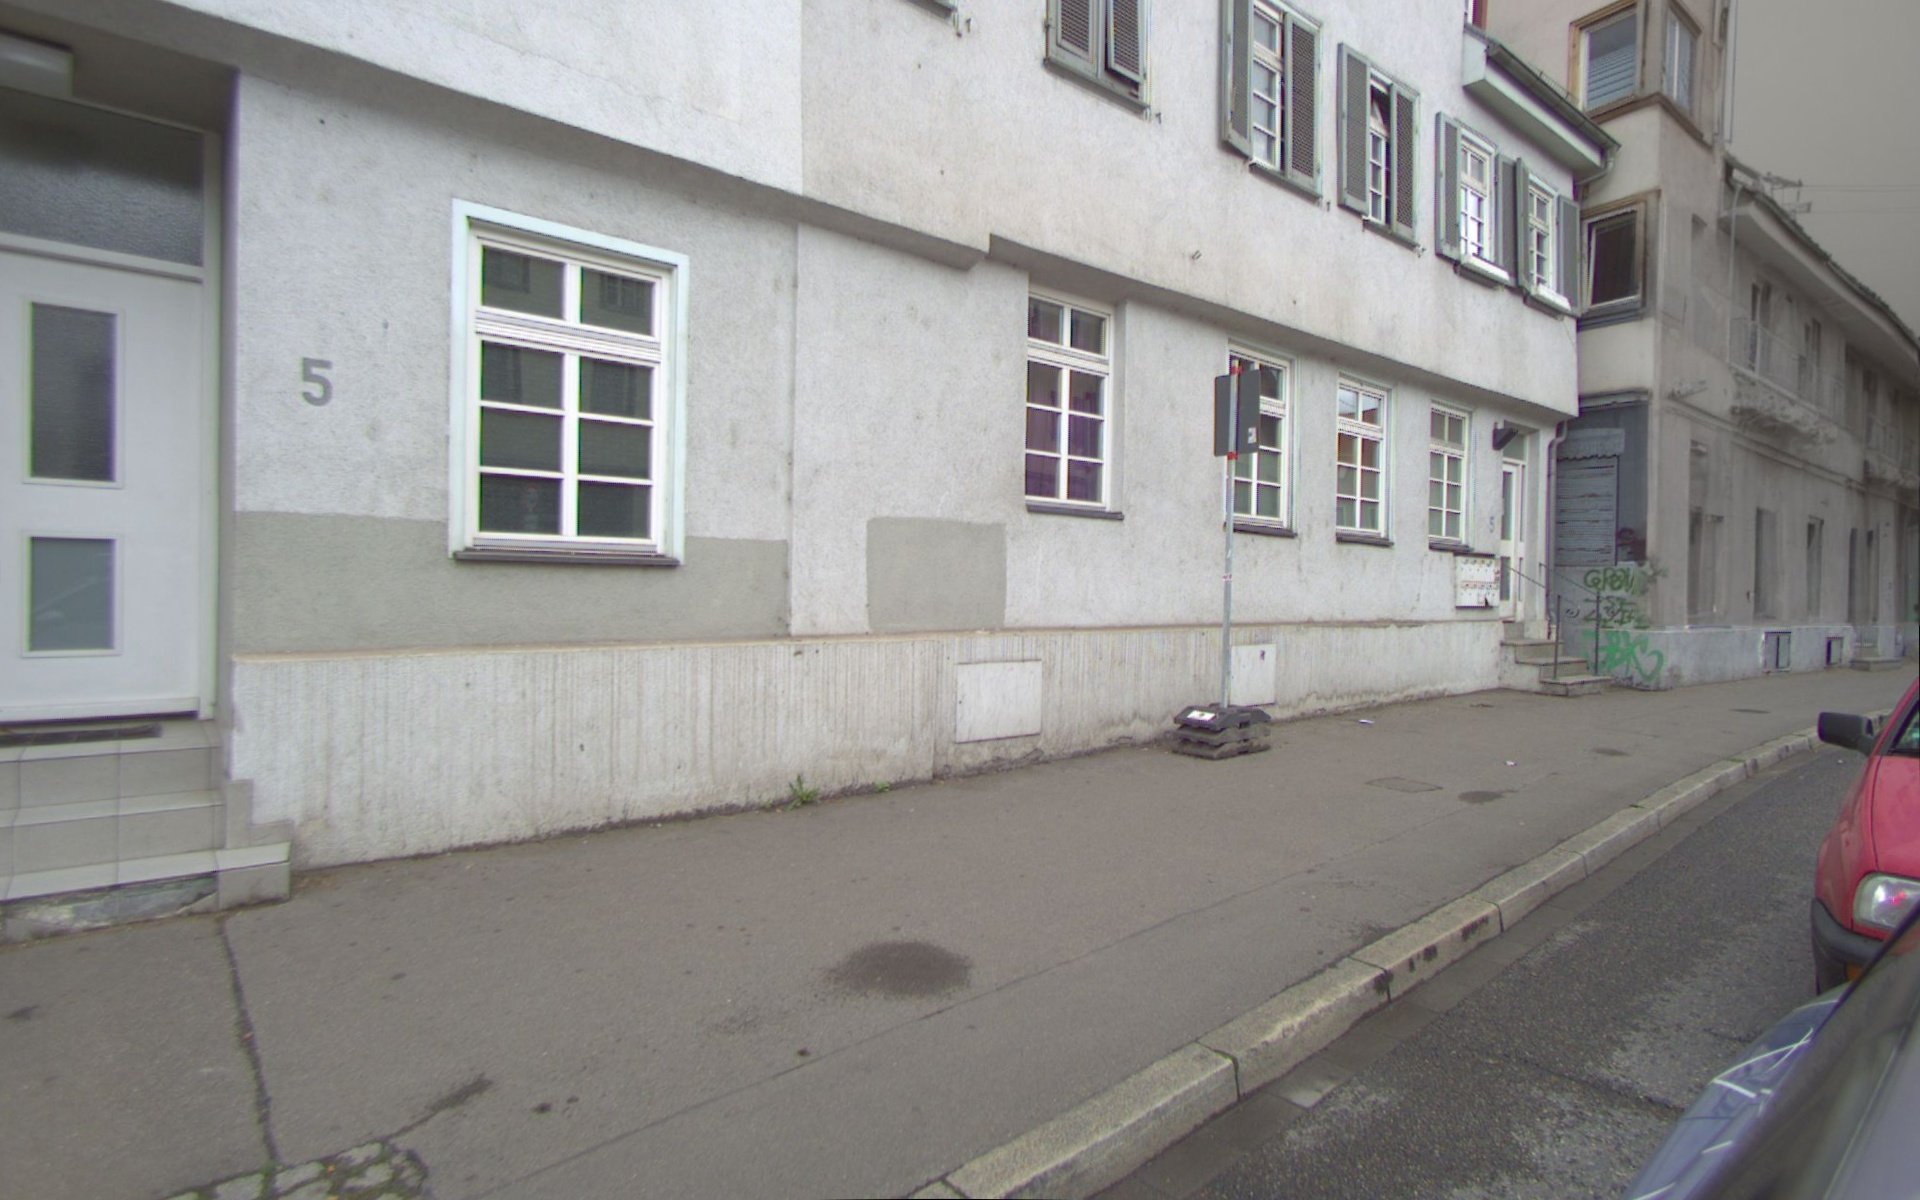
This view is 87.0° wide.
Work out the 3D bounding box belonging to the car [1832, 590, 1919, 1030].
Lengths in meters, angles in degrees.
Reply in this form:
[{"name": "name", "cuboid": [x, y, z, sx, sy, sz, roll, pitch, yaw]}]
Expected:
[{"name": "car", "cuboid": [5.056, 0.706, 4.142, 3.950, 1.445, 1.684, 0, 1, -41]}]
